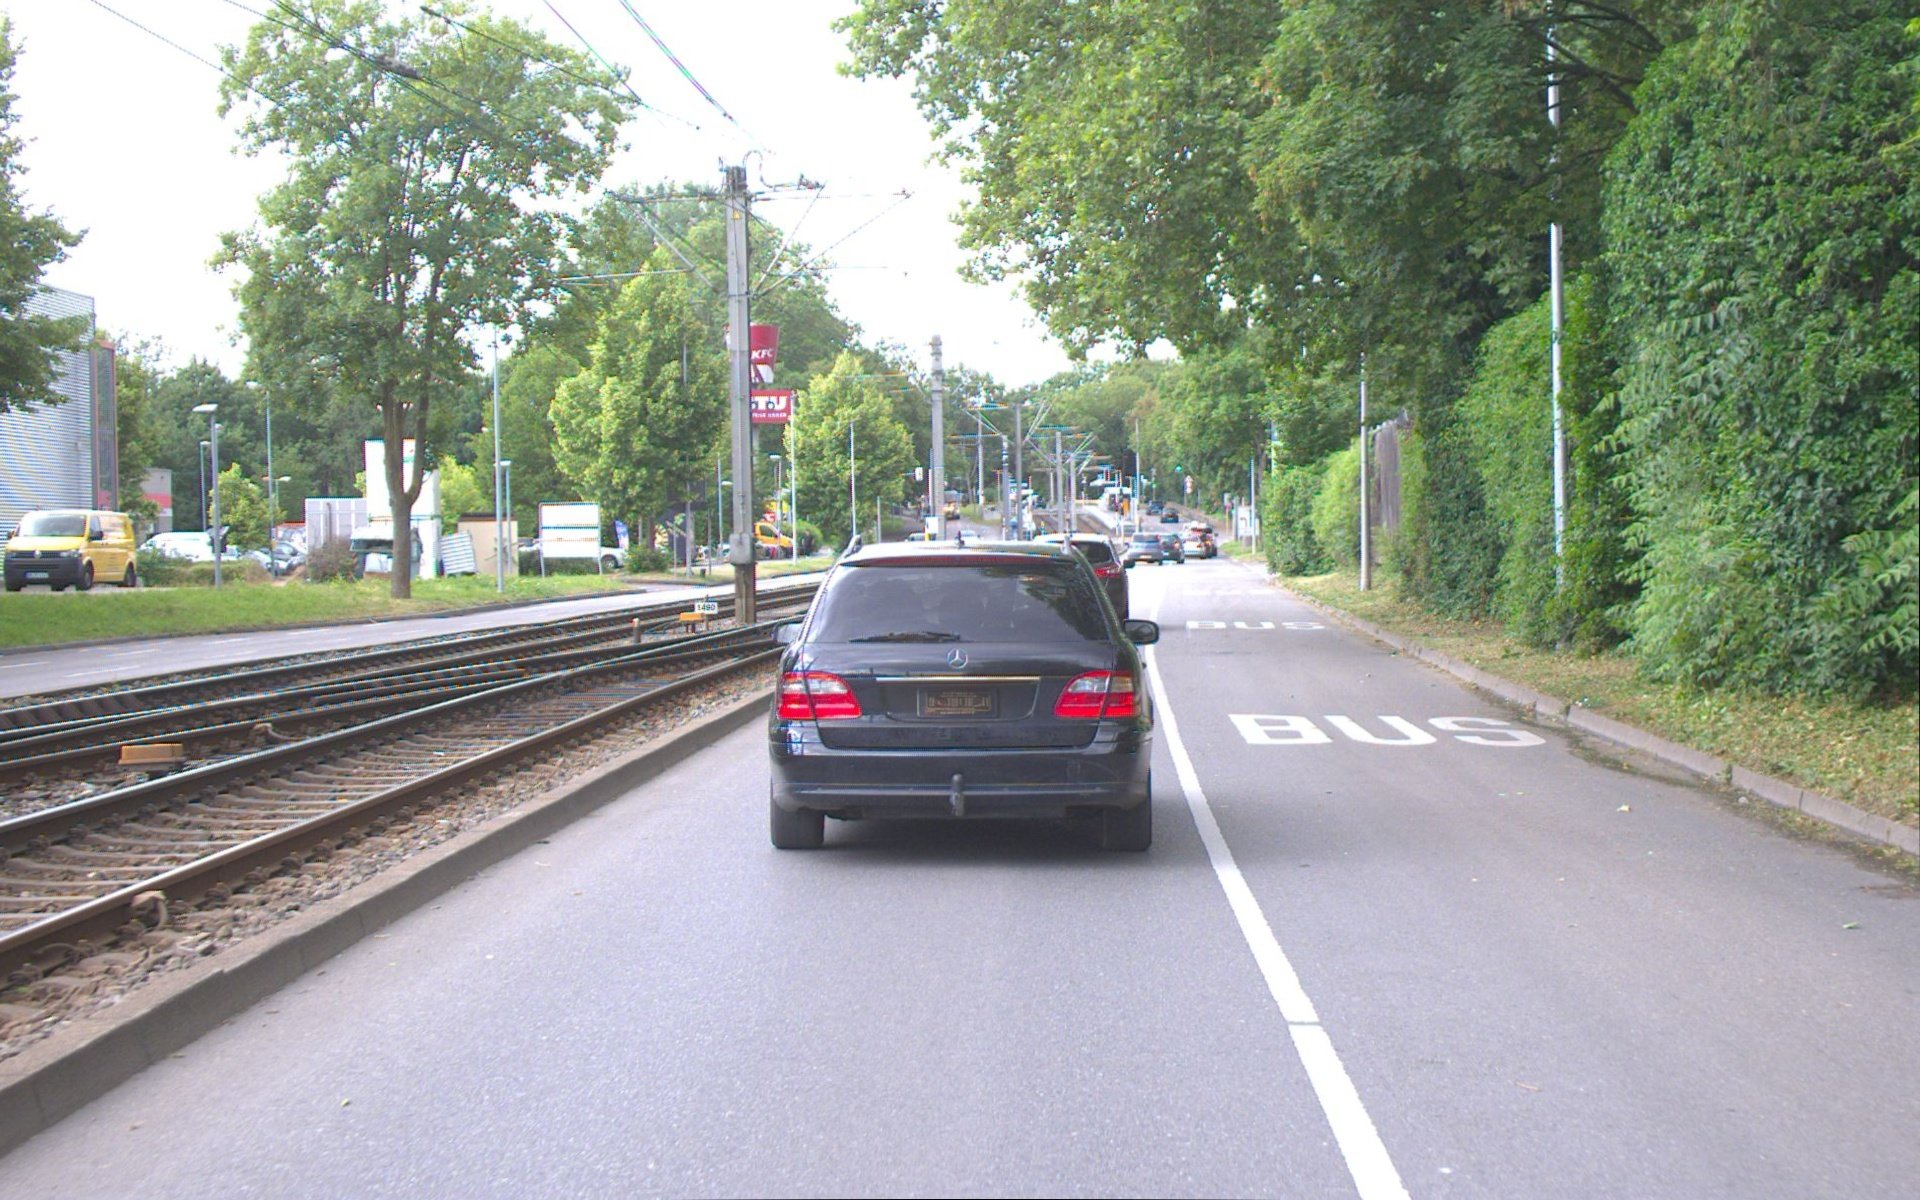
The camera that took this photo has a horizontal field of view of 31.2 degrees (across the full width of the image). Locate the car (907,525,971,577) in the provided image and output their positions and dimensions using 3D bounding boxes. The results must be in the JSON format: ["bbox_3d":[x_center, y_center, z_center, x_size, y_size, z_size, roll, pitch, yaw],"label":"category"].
[{"bbox_3d":[-0.612,-1.471,103.220,1.825,1.524,3.986,0,1,1],"label":"car"}]

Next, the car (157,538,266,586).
[{"bbox_3d":[-29.179,-1.484,134.054,3.986,1.674,2.001,-3,1,-15],"label":"car"}]

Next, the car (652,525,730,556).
[{"bbox_3d":[-14.457,-3.195,184.934,3.987,1.639,2.000,0,1,3],"label":"car"}]

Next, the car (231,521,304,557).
[{"bbox_3d":[-43.047,-3.785,213.708,3.987,2.007,2.000,-3,1,4],"label":"car"}]

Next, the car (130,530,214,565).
[{"bbox_3d":[-42.024,-2.774,183.294,3.986,1.674,2.000,-3,1,-2],"label":"car"}]

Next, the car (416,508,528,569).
[{"bbox_3d":[-18.387,-2.322,129.773,3.986,2.116,2.000,-3,1,-5],"label":"car"}]

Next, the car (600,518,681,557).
[{"bbox_3d":[-15.046,-2.946,161.735,3.692,1.809,1.795,-1,1,-8],"label":"car"}]

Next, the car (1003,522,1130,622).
[{"bbox_3d":[1.669,-0.478,54.975,1.825,1.524,4.416,0,1,-1],"label":"car"}]

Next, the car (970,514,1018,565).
[{"bbox_3d":[1.402,-2.521,143.487,1.891,2.007,3.898,-3,1,0],"label":"car"}]

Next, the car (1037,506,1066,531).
[{"bbox_3d":[6.013,-5.363,226.775,1.841,1.639,3.886,0,1,1],"label":"car"}]

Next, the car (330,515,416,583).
[{"bbox_3d":[-18.587,-1.610,109.071,1.993,2.007,4.000,-3,1,-1],"label":"car"}]

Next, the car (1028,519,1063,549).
[{"bbox_3d":[4.500,-3.491,181.175,1.825,1.524,4.179,0,1,1],"label":"car"}]

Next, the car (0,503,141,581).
[{"bbox_3d":[-20.746,-1.347,79.777,1.994,1.737,4.987,-1,1,4],"label":"car"}]

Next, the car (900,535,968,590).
[{"bbox_3d":[-0.725,-1.095,98.673,1.825,1.524,3.986,0,1,1],"label":"car"}]

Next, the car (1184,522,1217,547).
[{"bbox_3d":[14.664,-4.003,209.836,1.825,1.524,4.179,0,1,1],"label":"car"}]

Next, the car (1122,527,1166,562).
[{"bbox_3d":[8.347,-2.532,156.339,1.825,1.524,4.416,0,1,1],"label":"car"}]

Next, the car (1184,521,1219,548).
[{"bbox_3d":[13.839,-3.745,197.092,1.825,1.524,4.179,0,1,1],"label":"car"}]

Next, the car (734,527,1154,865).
[{"bbox_3d":[-0.058,0.386,17.262,1.833,1.473,4.416,0,1,0],"label":"car"}]

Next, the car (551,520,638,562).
[{"bbox_3d":[-15.990,-2.575,150.278,3.692,1.809,1.795,-1,1,-8],"label":"car"}]

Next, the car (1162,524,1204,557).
[{"bbox_3d":[10.683,-2.870,164.985,1.825,1.524,4.179,0,1,1],"label":"car"}]
